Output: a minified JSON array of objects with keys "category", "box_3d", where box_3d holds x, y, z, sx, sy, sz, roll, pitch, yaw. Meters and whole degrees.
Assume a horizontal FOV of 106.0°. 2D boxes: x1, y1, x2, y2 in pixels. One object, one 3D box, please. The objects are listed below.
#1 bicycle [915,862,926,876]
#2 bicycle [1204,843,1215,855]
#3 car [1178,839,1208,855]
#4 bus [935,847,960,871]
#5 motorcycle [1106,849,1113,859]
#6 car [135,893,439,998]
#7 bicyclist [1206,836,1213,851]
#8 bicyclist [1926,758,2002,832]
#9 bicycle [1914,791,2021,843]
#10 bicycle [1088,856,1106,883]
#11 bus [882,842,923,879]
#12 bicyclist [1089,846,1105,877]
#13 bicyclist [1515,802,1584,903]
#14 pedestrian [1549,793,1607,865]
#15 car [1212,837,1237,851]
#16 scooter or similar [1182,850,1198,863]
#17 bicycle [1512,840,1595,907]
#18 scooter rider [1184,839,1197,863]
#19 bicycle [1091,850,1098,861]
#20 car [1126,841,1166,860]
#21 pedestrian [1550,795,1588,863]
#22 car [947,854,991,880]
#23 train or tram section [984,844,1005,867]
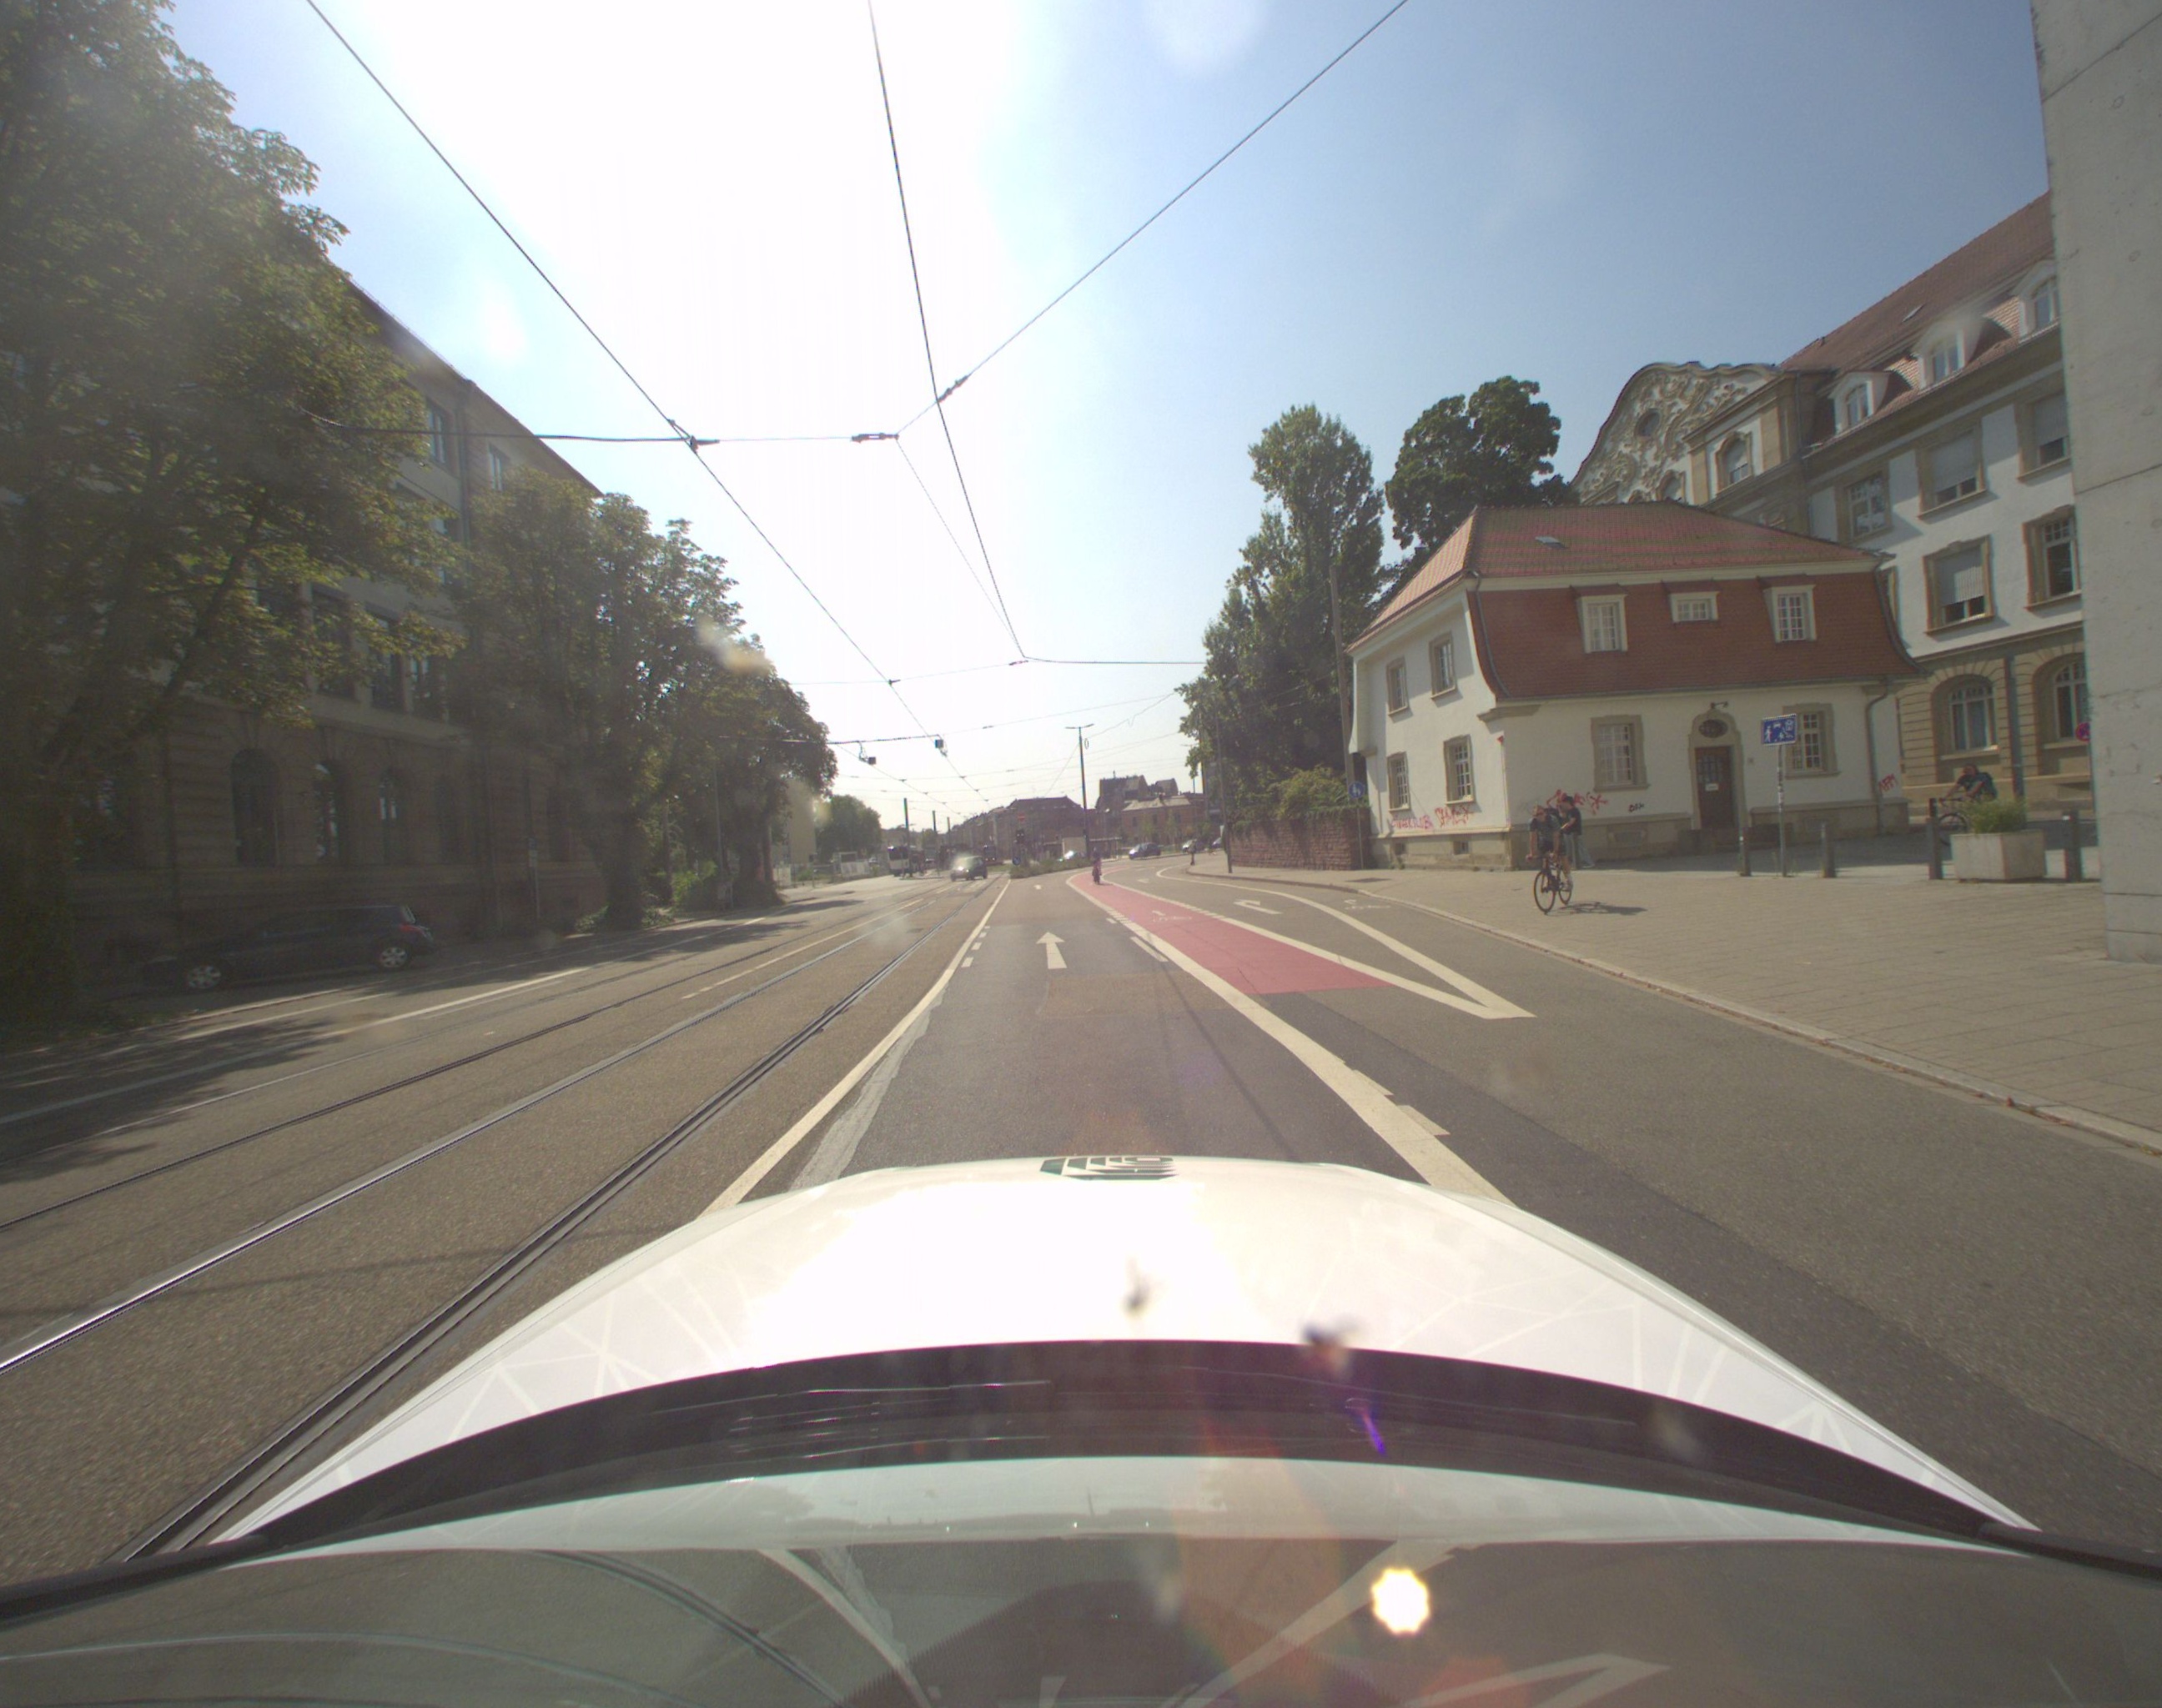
[{"category":"bicycle","box_3d":[-15.715,1.457,79.801,0.605,1.222,1.705,-4,0,0]},{"category":"bicycle","box_3d":[13.013,-0.532,82.310,0.440,1.116,1.456,-5,0,33]},{"category":"car","box_3d":[13.335,-0.854,96.931,1.634,1.530,4.354,-4,0,35]},{"category":"bus","box_3d":[-22.557,0.815,138.201,2.703,3.726,10.408,-4,0,-3]},{"category":"motorcycle","box_3d":[3.632,-0.027,105.073,0.601,1.210,2.258,-4,0,7]},{"category":"car","box_3d":[-15.894,1.742,16.638,4.187,1.496,1.799,-5,1,-42]},{"category":"bicyclist","box_3d":[13.048,-1.073,82.449,0.445,1.421,0.499,-5,0,33]},{"category":"bicyclist","box_3d":[19.786,-1.307,18.261,0.898,1.539,0.628,-7,0,0]},{"category":"bicycle","box_3d":[19.859,-0.823,18.259,1.700,0.999,0.616,-5,1,-1]},{"category":"bicycle","box_3d":[0.710,0.694,37.148,0.603,1.163,1.808,-4,0,-3]},{"category":"bus","box_3d":[-20.165,0.715,92.756,2.953,3.774,10.579,-4,0,-5]},{"category":"bicyclist","box_3d":[0.706,0.328,37.086,0.601,1.335,0.659,-4,0,-3]},{"category":"bicyclist","box_3d":[7.837,-0.032,13.614,0.998,1.598,0.621,-4,0,-41]},{"category":"pedestrian","box_3d":[12.035,-0.606,19.731,0.873,1.665,0.730,-4,0,1]},{"category":"car","box_3d":[18.705,-1.300,106.161,1.680,1.530,4.210,-4,0,31]},{"category":"scooter or similar","box_3d":[8.226,0.190,61.261,0.765,0.926,1.629,-3,1,20]},{"category":"bicycle","box_3d":[7.995,0.312,13.745,1.720,1.000,0.609,-4,0,-40]},{"category":"scooter rider","box_3d":[8.241,-0.248,61.390,0.755,1.775,0.558,-4,0,20]},{"category":"bicycle","box_3d":[1.649,0.157,99.323,0.601,1.210,1.814,-4,0,7]},{"category":"car","box_3d":[6.933,-0.399,86.411,1.754,1.610,4.704,-4,0,40]},{"category":"pedestrian","box_3d":[12.257,-0.626,20.467,0.483,1.666,0.620,-4,0,3]},{"category":"car","box_3d":[-7.903,0.888,57.782,1.678,1.655,3.597,-4,0,17]},{"category":"train or tram section","box_3d":[-14.978,0.203,141.618,2.851,3.548,17.714,-4,0,-4]}]
